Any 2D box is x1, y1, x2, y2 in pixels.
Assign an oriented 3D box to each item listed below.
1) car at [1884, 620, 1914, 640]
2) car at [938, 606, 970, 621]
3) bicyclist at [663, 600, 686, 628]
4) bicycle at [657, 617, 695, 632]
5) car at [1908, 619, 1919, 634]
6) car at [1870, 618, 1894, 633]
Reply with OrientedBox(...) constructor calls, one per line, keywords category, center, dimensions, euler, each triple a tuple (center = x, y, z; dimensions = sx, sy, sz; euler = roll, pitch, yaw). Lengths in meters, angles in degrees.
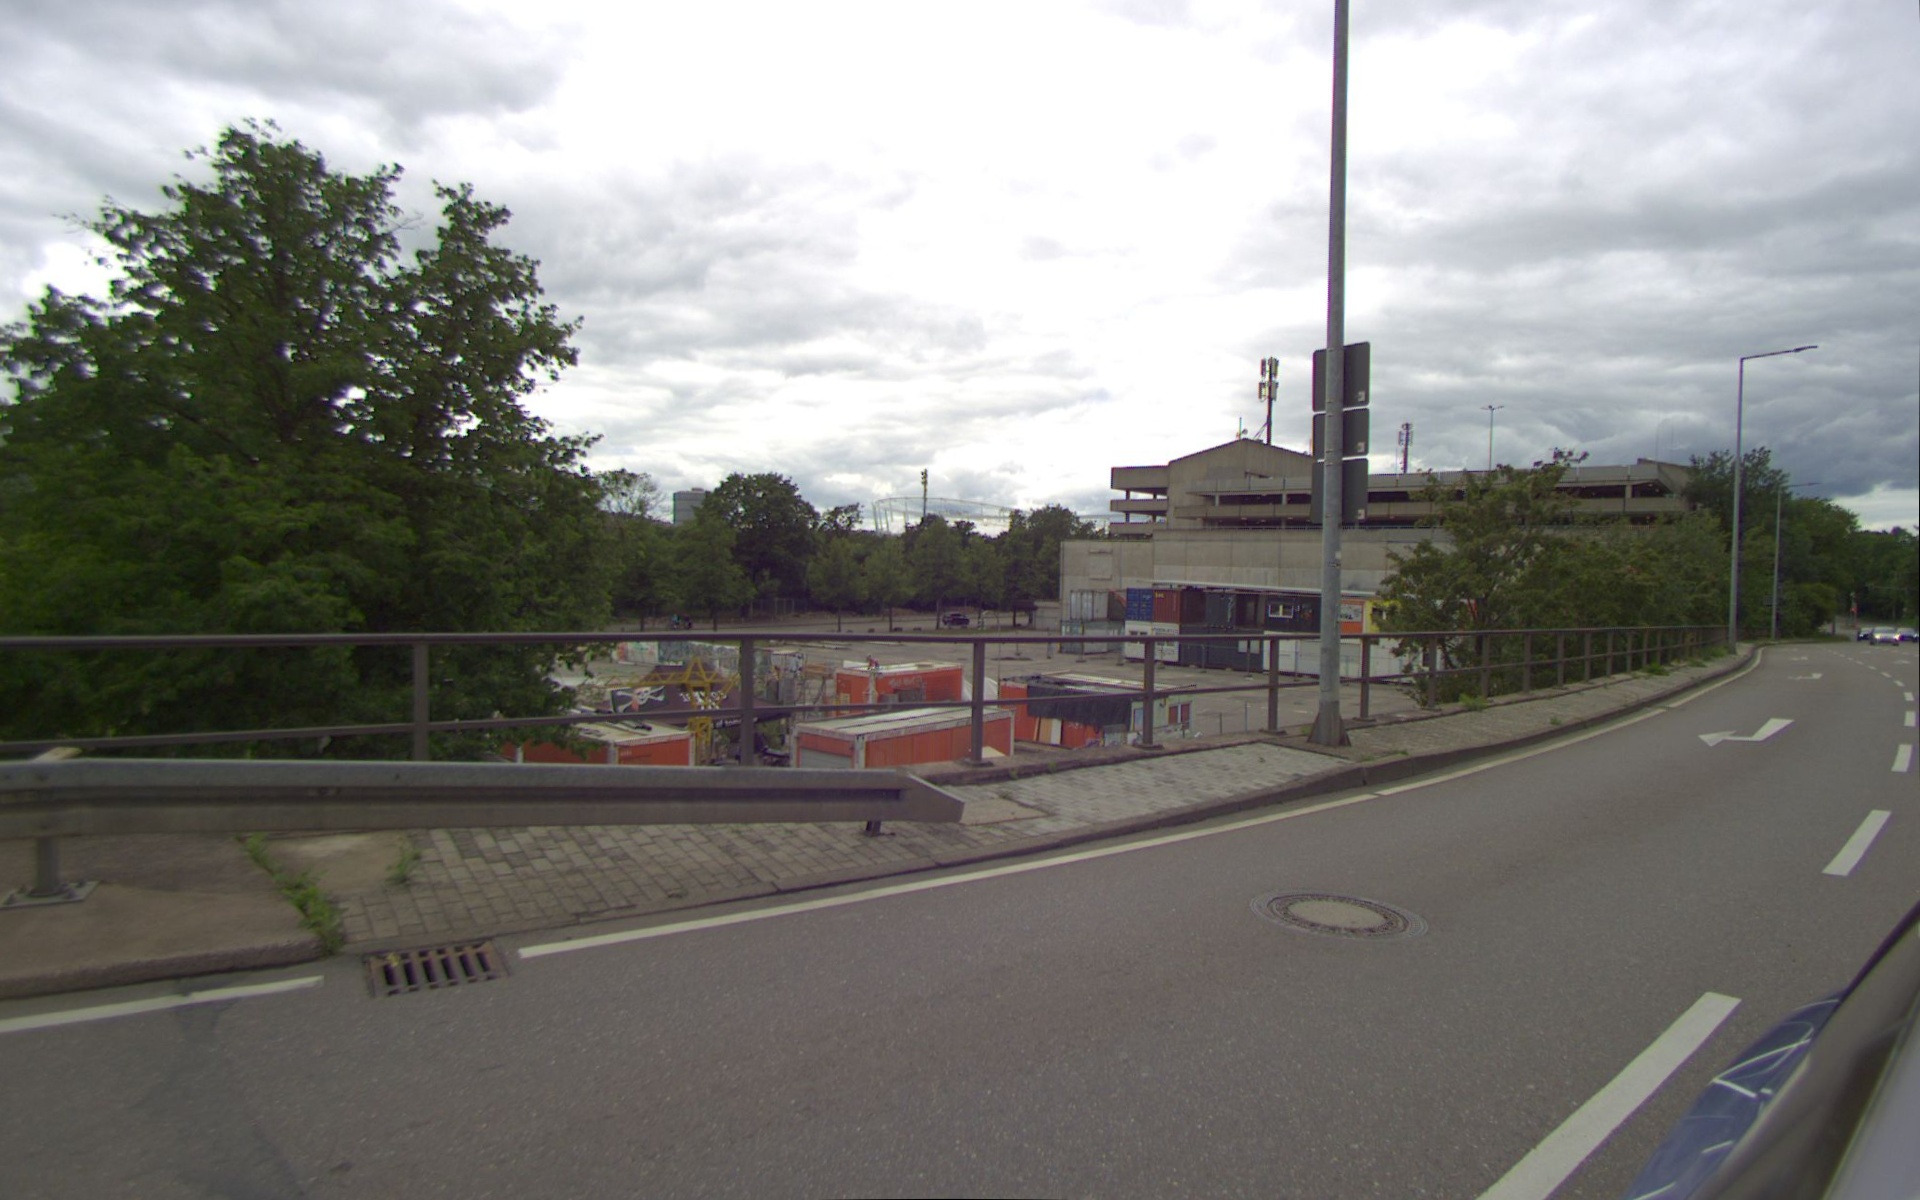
OrientedBox(category="car", center=(74.468, 2.354, 80.286), dimensions=(1.603, 1.434, 3.538), euler=(1, 0, 40))
OrientedBox(category="car", center=(-0.777, 1.793, 130.829), dimensions=(1.990, 1.839, 3.943), euler=(-3, -2, 40))
OrientedBox(category="bicyclist", center=(-28.913, 1.376, 102.568), dimensions=(1.484, 2.737, 1.860), euler=(1, 1, 20))
OrientedBox(category="bicycle", center=(-28.848, 2.441, 102.783), dimensions=(1.484, 1.304, 4.302), euler=(1, 1, 20))
OrientedBox(category="car", center=(97.180, 2.699, 102.256), dimensions=(1.836, 1.434, 4.510), euler=(1, 0, 42))
OrientedBox(category="car", center=(95.987, 2.633, 105.363), dimensions=(1.859, 1.434, 4.271), euler=(1, 0, 43))
